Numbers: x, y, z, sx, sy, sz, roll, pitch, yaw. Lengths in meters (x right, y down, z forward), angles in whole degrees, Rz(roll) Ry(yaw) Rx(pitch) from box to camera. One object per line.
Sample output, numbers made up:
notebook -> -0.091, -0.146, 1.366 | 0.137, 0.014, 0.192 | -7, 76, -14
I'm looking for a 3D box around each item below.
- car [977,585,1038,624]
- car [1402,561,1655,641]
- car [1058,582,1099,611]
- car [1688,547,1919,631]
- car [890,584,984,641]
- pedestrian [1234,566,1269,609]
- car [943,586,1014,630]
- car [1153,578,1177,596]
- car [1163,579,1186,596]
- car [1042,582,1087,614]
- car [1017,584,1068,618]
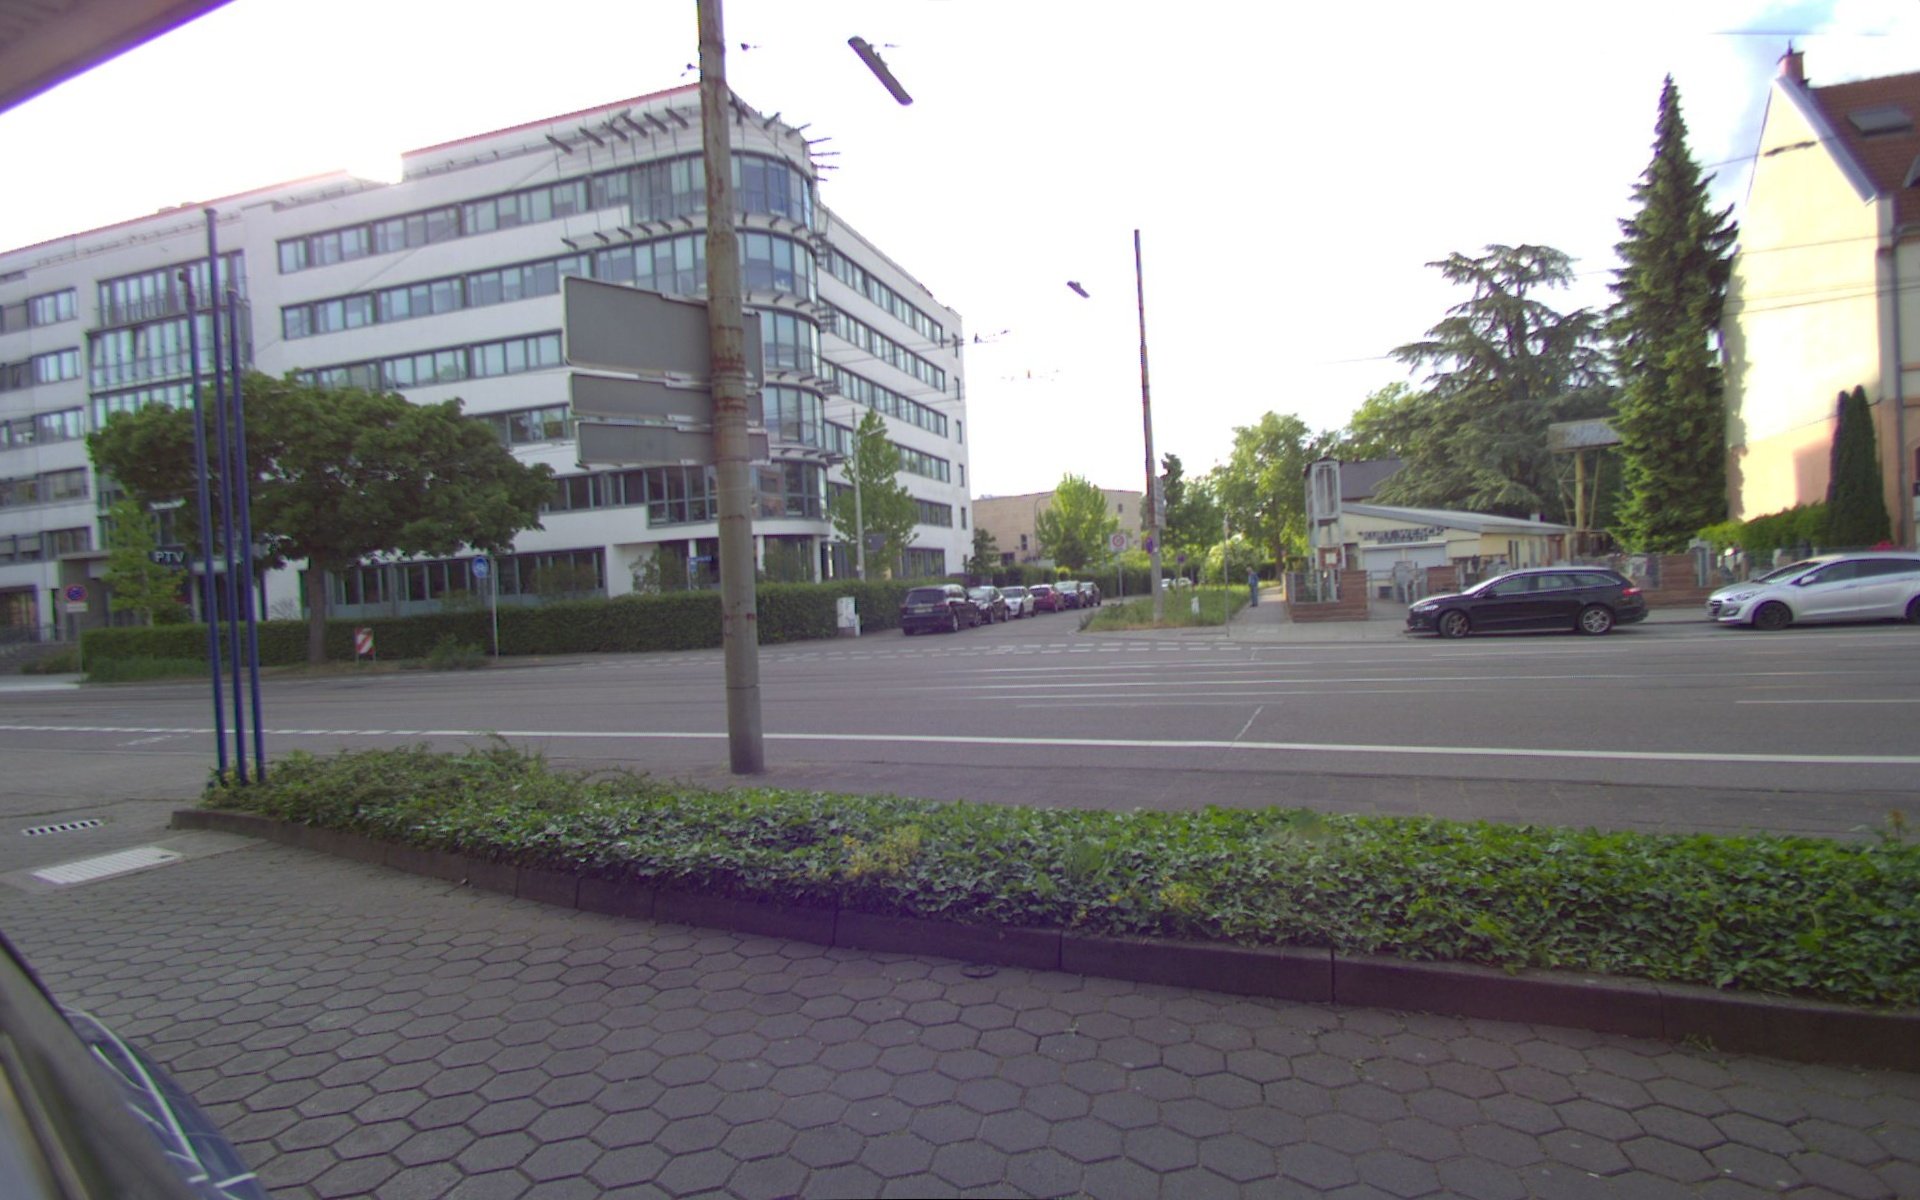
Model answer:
car -> 2.212, 0.173, 45.756 | 1.773, 1.565, 4.083 | -4, 0, 17
car -> 12.924, 0.045, 23.417 | 4.791, 1.507, 1.986 | -3, 0, 22
car -> 7.377, -0.239, 62.673 | 1.773, 1.653, 4.064 | -4, 0, 17
car -> 18.500, -0.255, 21.501 | 4.459, 1.486, 1.986 | -4, 0, 22
car -> -0.715, 0.380, 35.537 | 1.962, 1.625, 4.411 | -4, 2, 17
pedestrian -> 12.717, -0.531, 44.157 | 0.988, 1.843, 1.096 | -1, 0, -28
car -> 0.805, 0.287, 40.895 | 1.773, 1.565, 4.083 | -4, 0, 17
car -> 20.427, -1.281, 100.616 | 1.774, 1.653, 4.060 | -4, 0, 19
car -> 22.566, -1.311, 106.314 | 1.774, 1.653, 4.060 | -4, 0, 19
car -> 5.987, -0.141, 57.662 | 1.773, 1.653, 4.064 | -4, 0, 17
car -> 4.292, 0.019, 52.361 | 1.773, 1.552, 4.018 | -4, 0, 17
